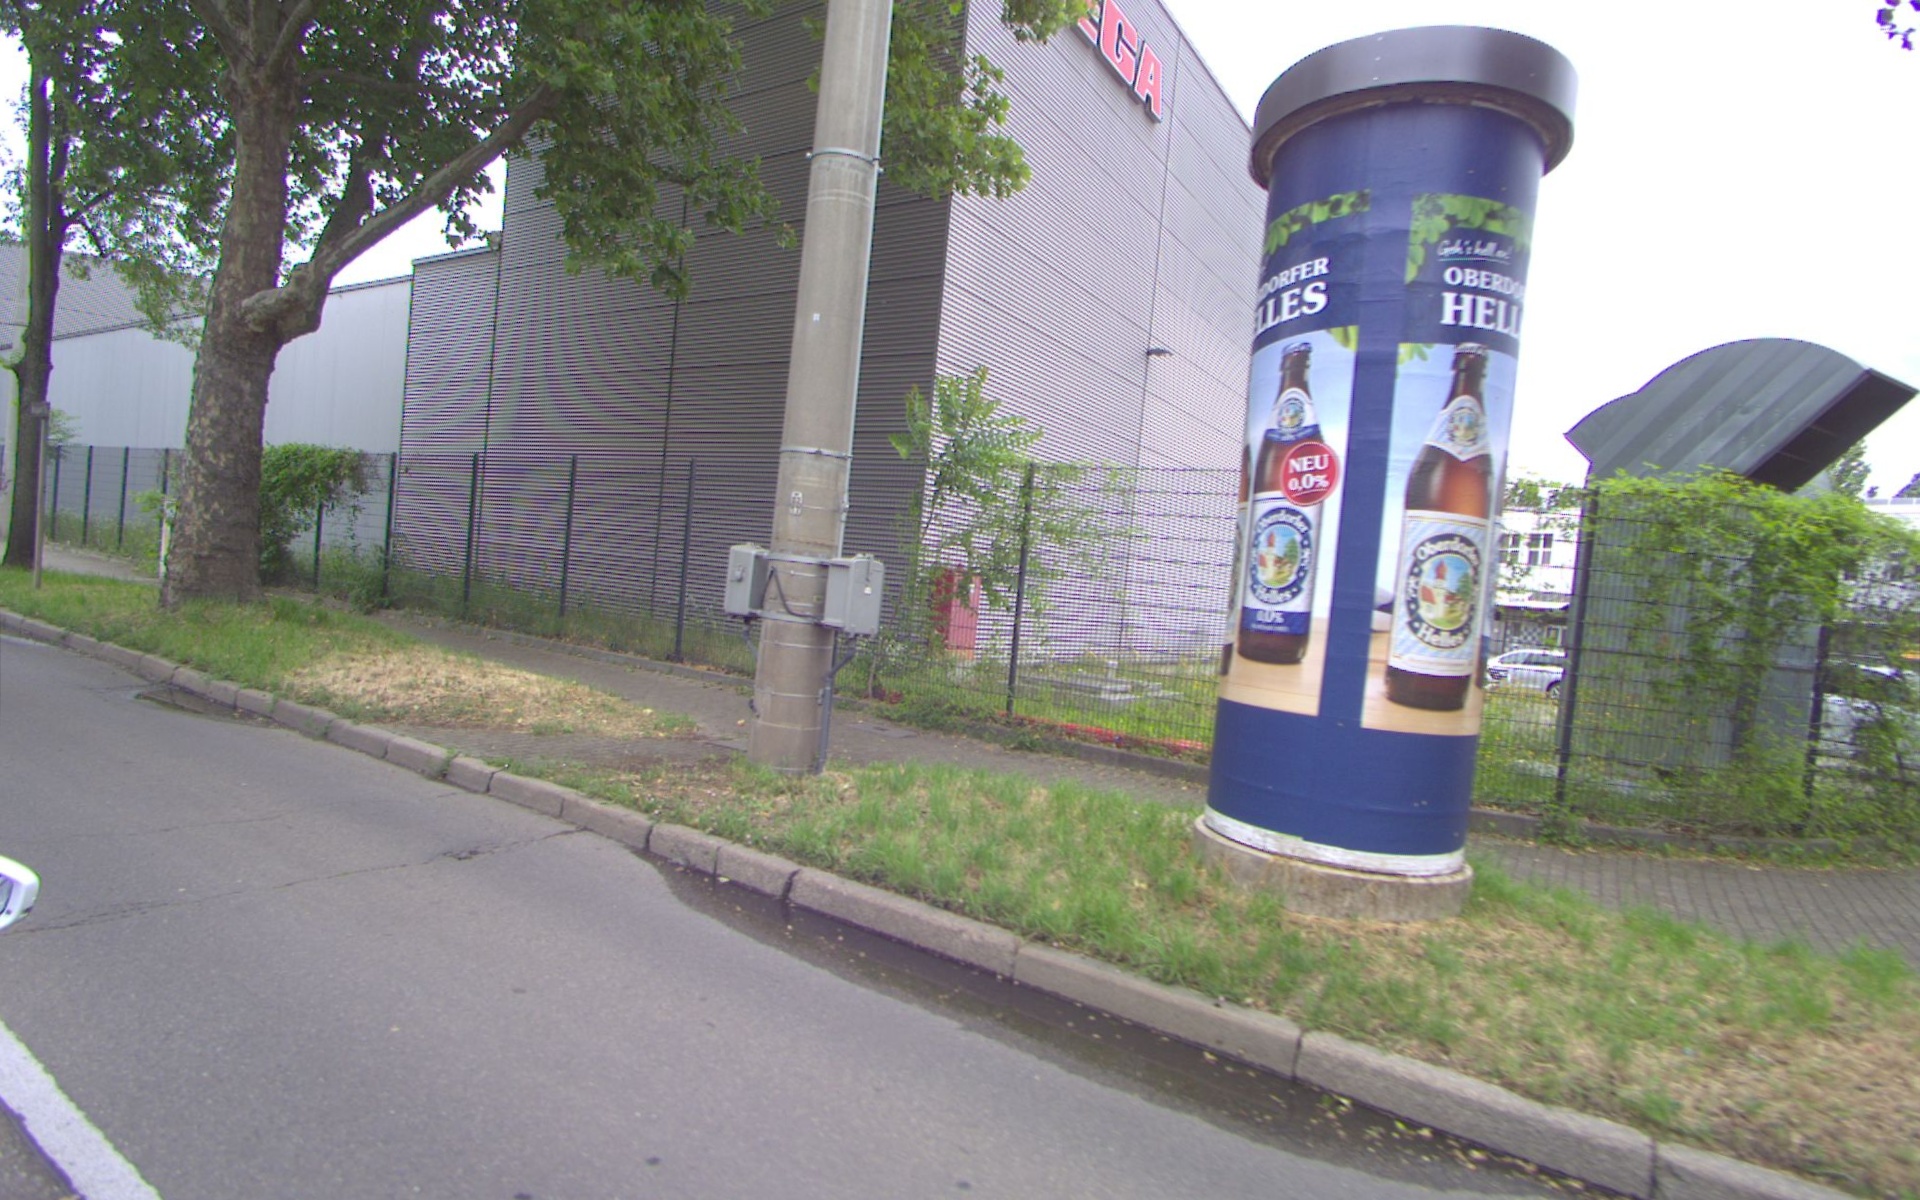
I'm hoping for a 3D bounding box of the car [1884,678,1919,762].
[{"bbox_3d":[21.578,2.693,19.826,1.977,1.687,4.466,5,1,-30],"label":"car"}]

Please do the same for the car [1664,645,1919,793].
[{"bbox_3d":[13.281,1.761,14.637,1.977,1.687,4.466,5,1,-30],"label":"car"}]

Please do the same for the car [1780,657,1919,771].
[{"bbox_3d":[17.018,2.092,16.928,1.977,1.687,4.466,5,1,-30],"label":"car"}]

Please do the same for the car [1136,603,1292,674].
[{"bbox_3d":[7.576,1.121,30.351,1.981,1.669,4.235,8,-2,-33],"label":"car"}]

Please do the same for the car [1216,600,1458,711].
[{"bbox_3d":[7.617,1.110,20.392,4.199,1.669,1.998,6,-2,30],"label":"car"}]

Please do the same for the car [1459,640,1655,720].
[{"bbox_3d":[16.775,2.208,28.473,1.981,1.669,4.235,8,-2,-33],"label":"car"}]

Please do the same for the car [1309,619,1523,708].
[{"bbox_3d":[11.504,1.565,25.633,4.417,1.687,1.999,6,1,1],"label":"car"}]
